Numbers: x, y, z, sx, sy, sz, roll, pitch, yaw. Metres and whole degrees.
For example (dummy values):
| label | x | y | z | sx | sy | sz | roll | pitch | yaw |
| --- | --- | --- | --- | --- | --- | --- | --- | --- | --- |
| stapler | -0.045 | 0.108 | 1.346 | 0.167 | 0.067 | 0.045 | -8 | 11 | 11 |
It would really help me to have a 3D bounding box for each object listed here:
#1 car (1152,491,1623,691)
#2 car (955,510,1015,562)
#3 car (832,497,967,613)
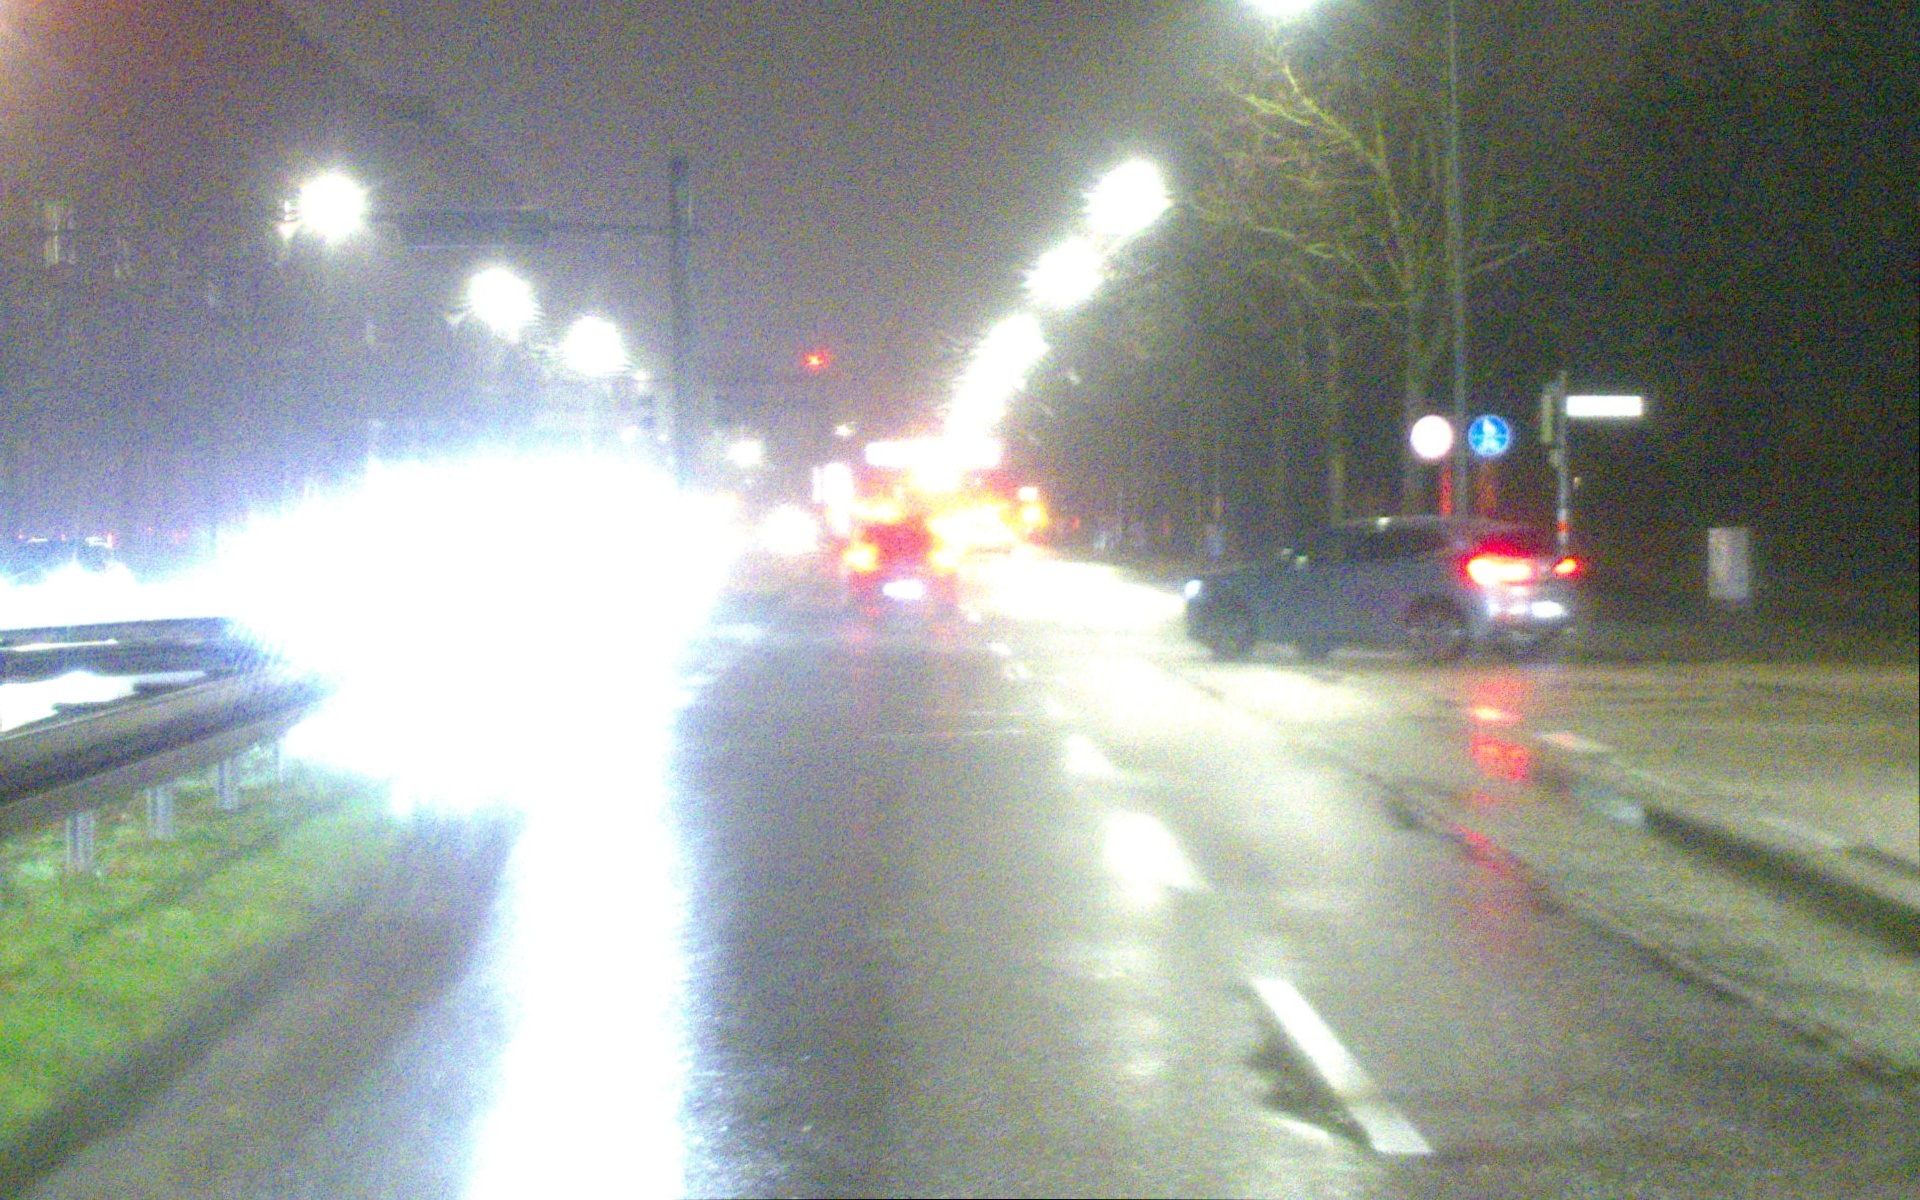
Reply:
| label | x | y | z | sx | sy | sz | roll | pitch | yaw |
| --- | --- | --- | --- | --- | --- | --- | --- | --- | --- |
| car | 4.513 | -0.131 | 36.706 | 4.628 | 2.007 | 1.995 | 1 | 1 | 40 |
| car | 0.867 | -2.238 | 120.512 | 1.993 | 1.753 | 4.000 | 1 | 1 | -1 |
| car | -0.921 | -0.696 | 53.739 | 1.993 | 1.700 | 4.633 | 1 | 1 | -1 |
